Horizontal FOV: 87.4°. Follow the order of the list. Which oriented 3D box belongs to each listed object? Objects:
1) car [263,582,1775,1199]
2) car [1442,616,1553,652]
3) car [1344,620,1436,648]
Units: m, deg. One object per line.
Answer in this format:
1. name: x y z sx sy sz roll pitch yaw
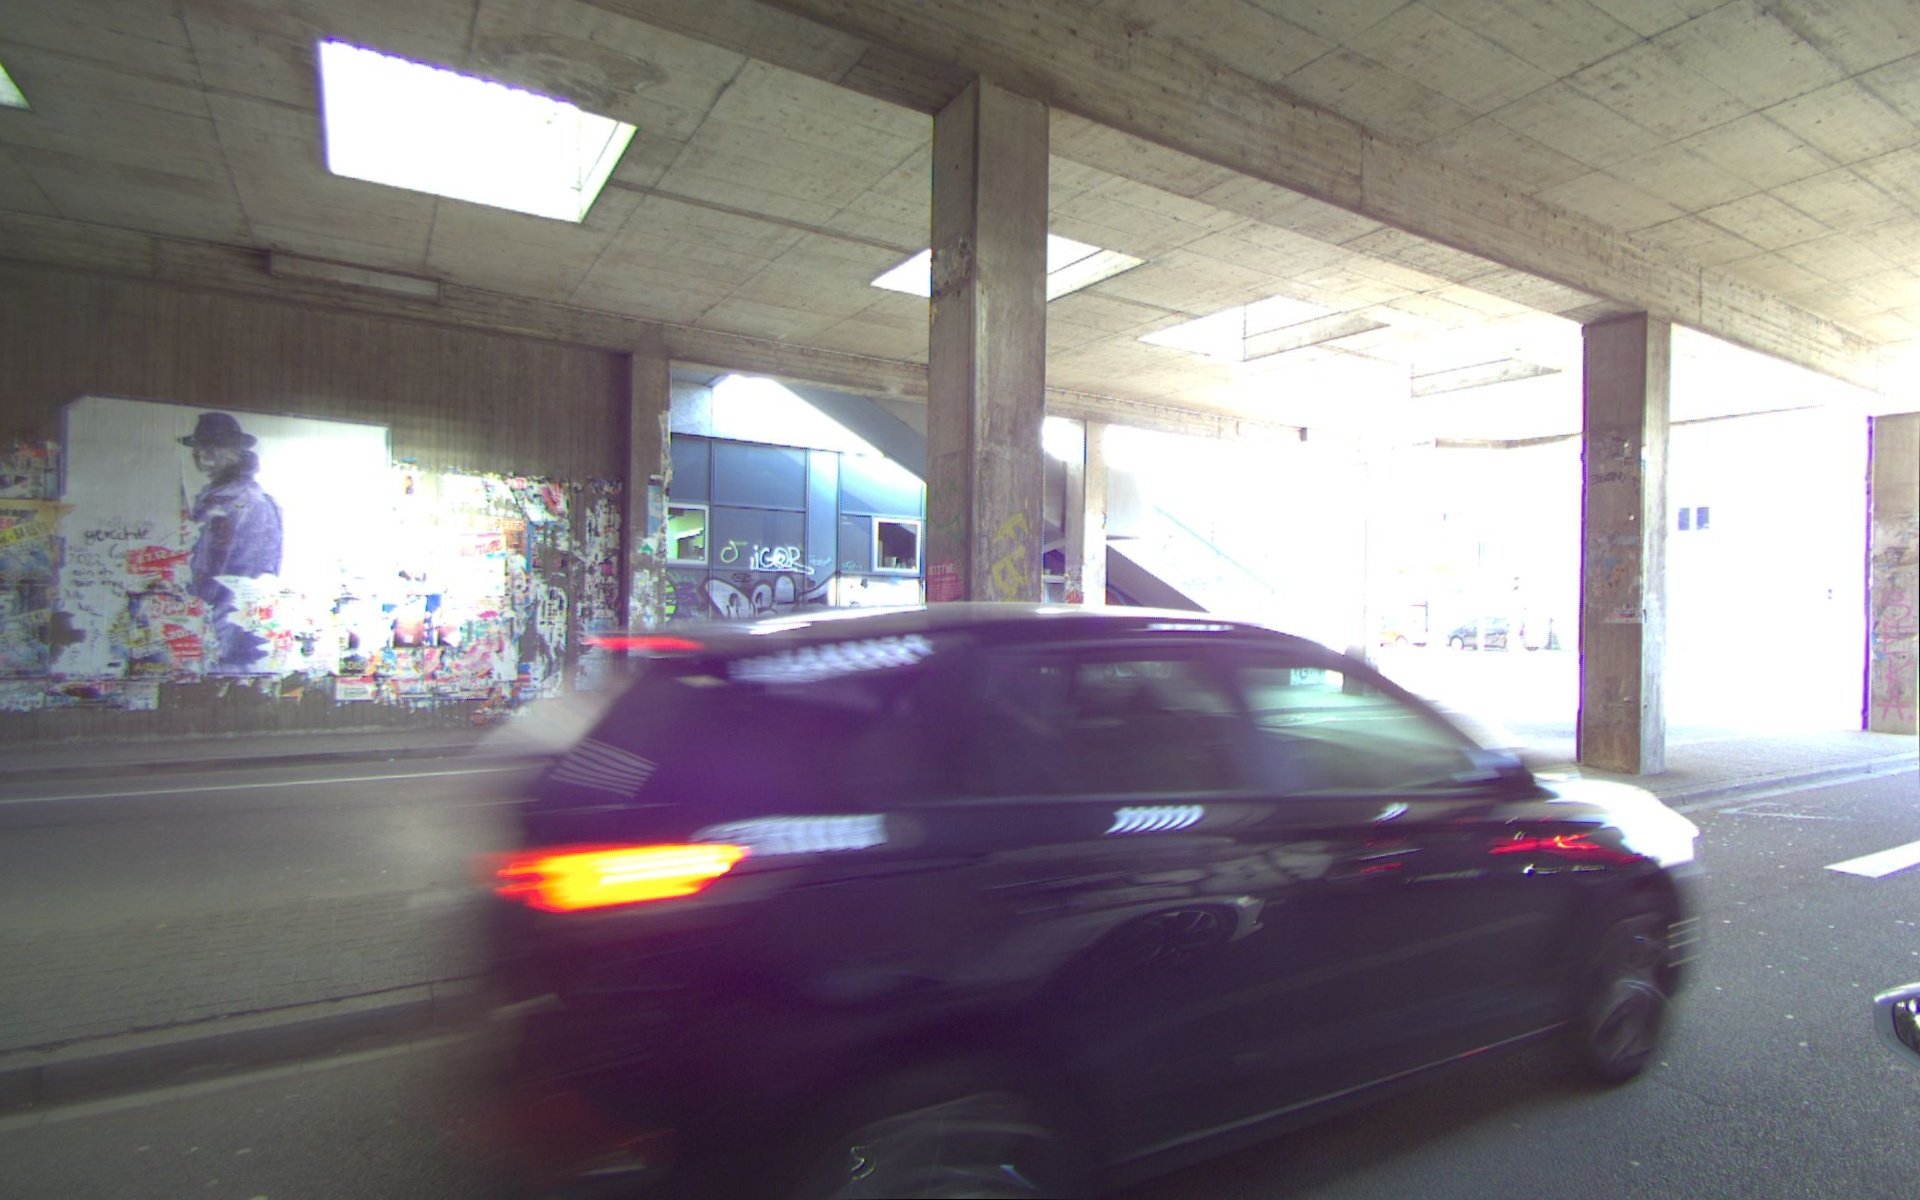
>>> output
1. car: 0.485 0.751 3.032 4.131 1.466 1.770 1 1 -32
2. car: 25.431 1.584 47.662 2.240 1.571 4.111 1 -1 -29
3. car: 22.509 1.774 52.673 2.163 1.392 3.971 1 -1 -28
